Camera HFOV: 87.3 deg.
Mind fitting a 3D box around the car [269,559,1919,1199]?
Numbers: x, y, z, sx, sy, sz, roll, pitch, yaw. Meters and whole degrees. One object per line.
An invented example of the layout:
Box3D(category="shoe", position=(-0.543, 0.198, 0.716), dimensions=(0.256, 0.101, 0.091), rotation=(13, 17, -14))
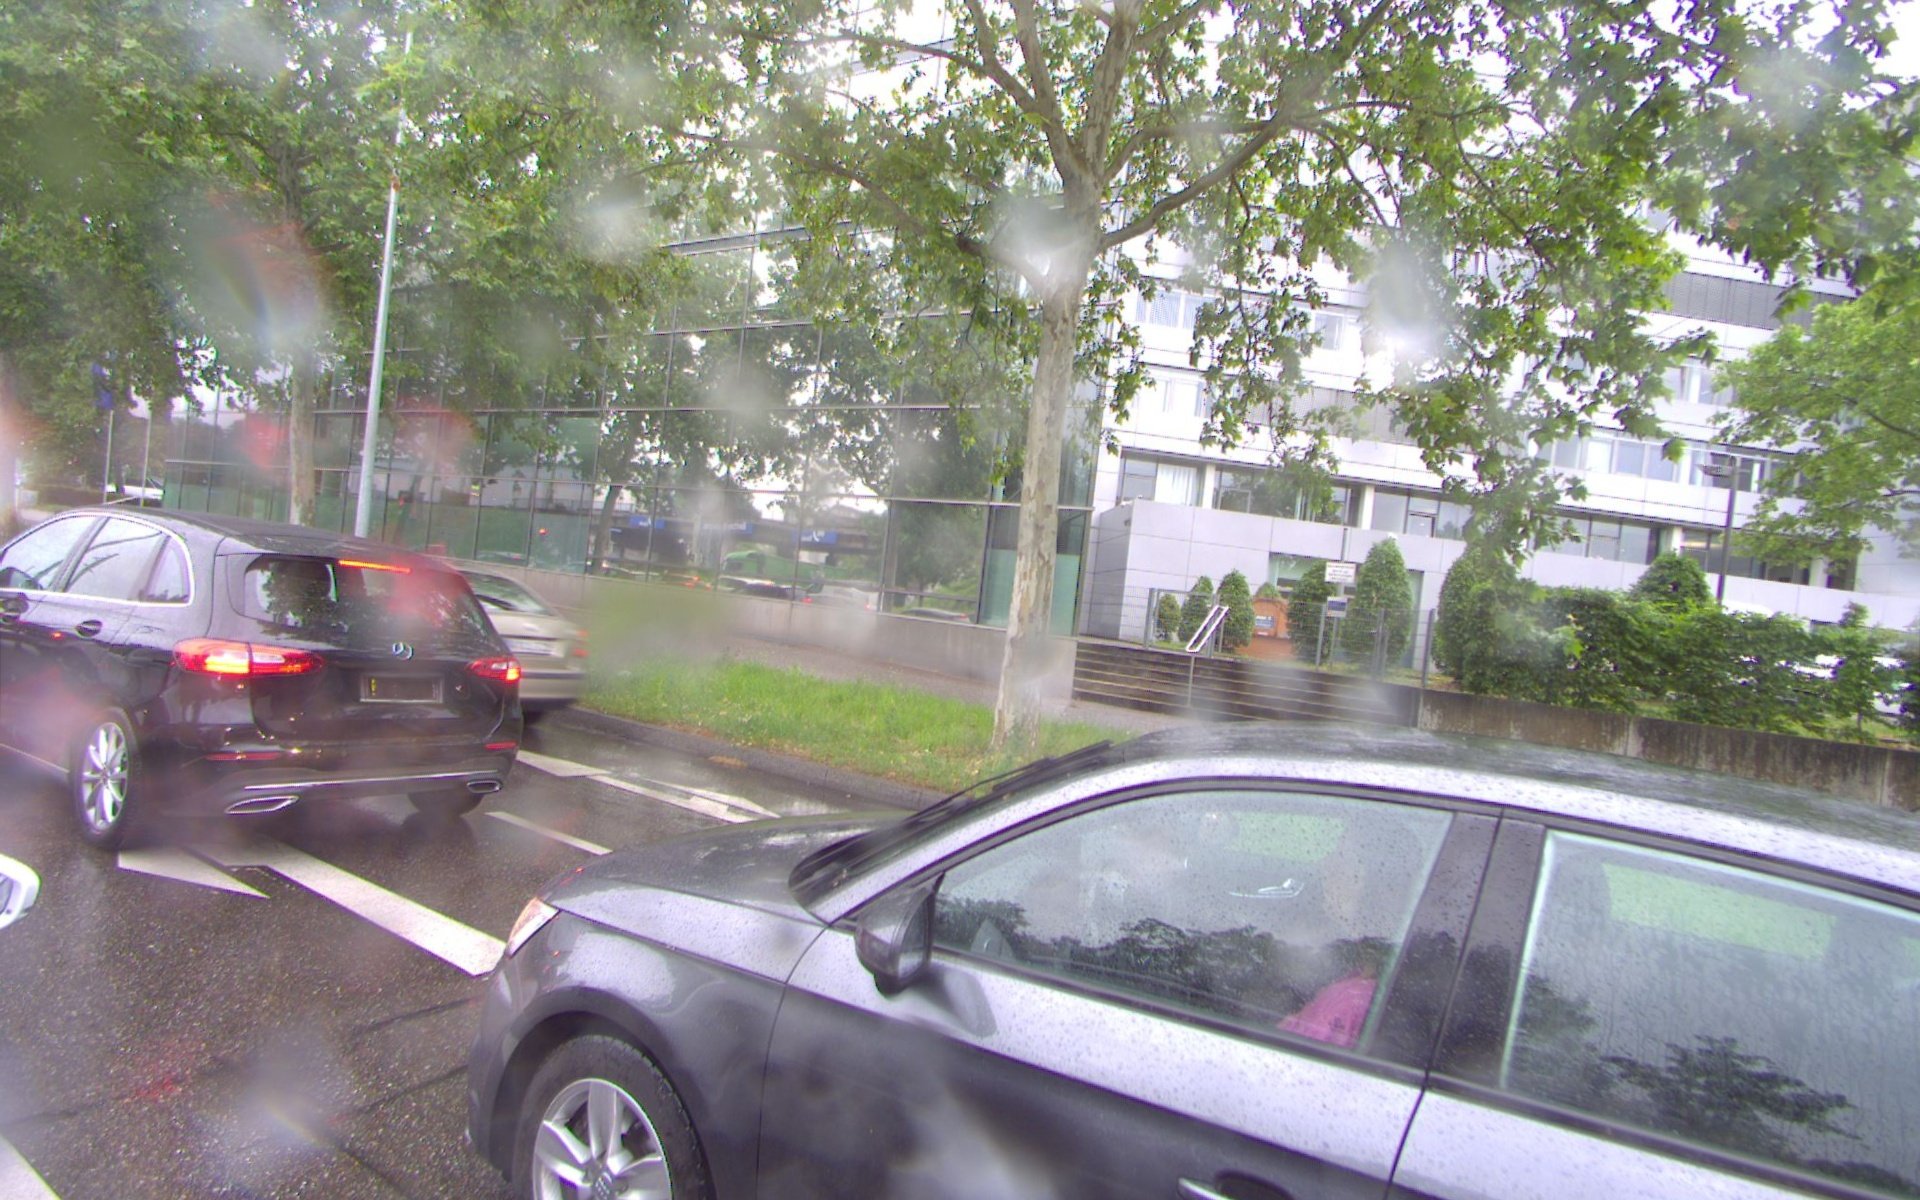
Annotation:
Box3D(category="car", position=(0.692, 0.911, 2.177), dimensions=(3.932, 1.469, 1.998), rotation=(6, -2, 30))

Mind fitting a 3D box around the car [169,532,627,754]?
Box3D(category="car", position=(-5.387, 0.322, 9.492), dimensions=(4.314, 1.447, 1.805), rotation=(6, -1, 32))

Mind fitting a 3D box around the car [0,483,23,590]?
Box3D(category="car", position=(-17.954, -1.301, 17.014), dimensions=(4.120, 1.746, 1.860), rotation=(6, -1, 30))

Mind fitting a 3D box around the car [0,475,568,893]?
Box3D(category="car", position=(-4.342, 0.242, 5.734), dimensions=(3.932, 1.568, 1.712), rotation=(8, 0, 30))
